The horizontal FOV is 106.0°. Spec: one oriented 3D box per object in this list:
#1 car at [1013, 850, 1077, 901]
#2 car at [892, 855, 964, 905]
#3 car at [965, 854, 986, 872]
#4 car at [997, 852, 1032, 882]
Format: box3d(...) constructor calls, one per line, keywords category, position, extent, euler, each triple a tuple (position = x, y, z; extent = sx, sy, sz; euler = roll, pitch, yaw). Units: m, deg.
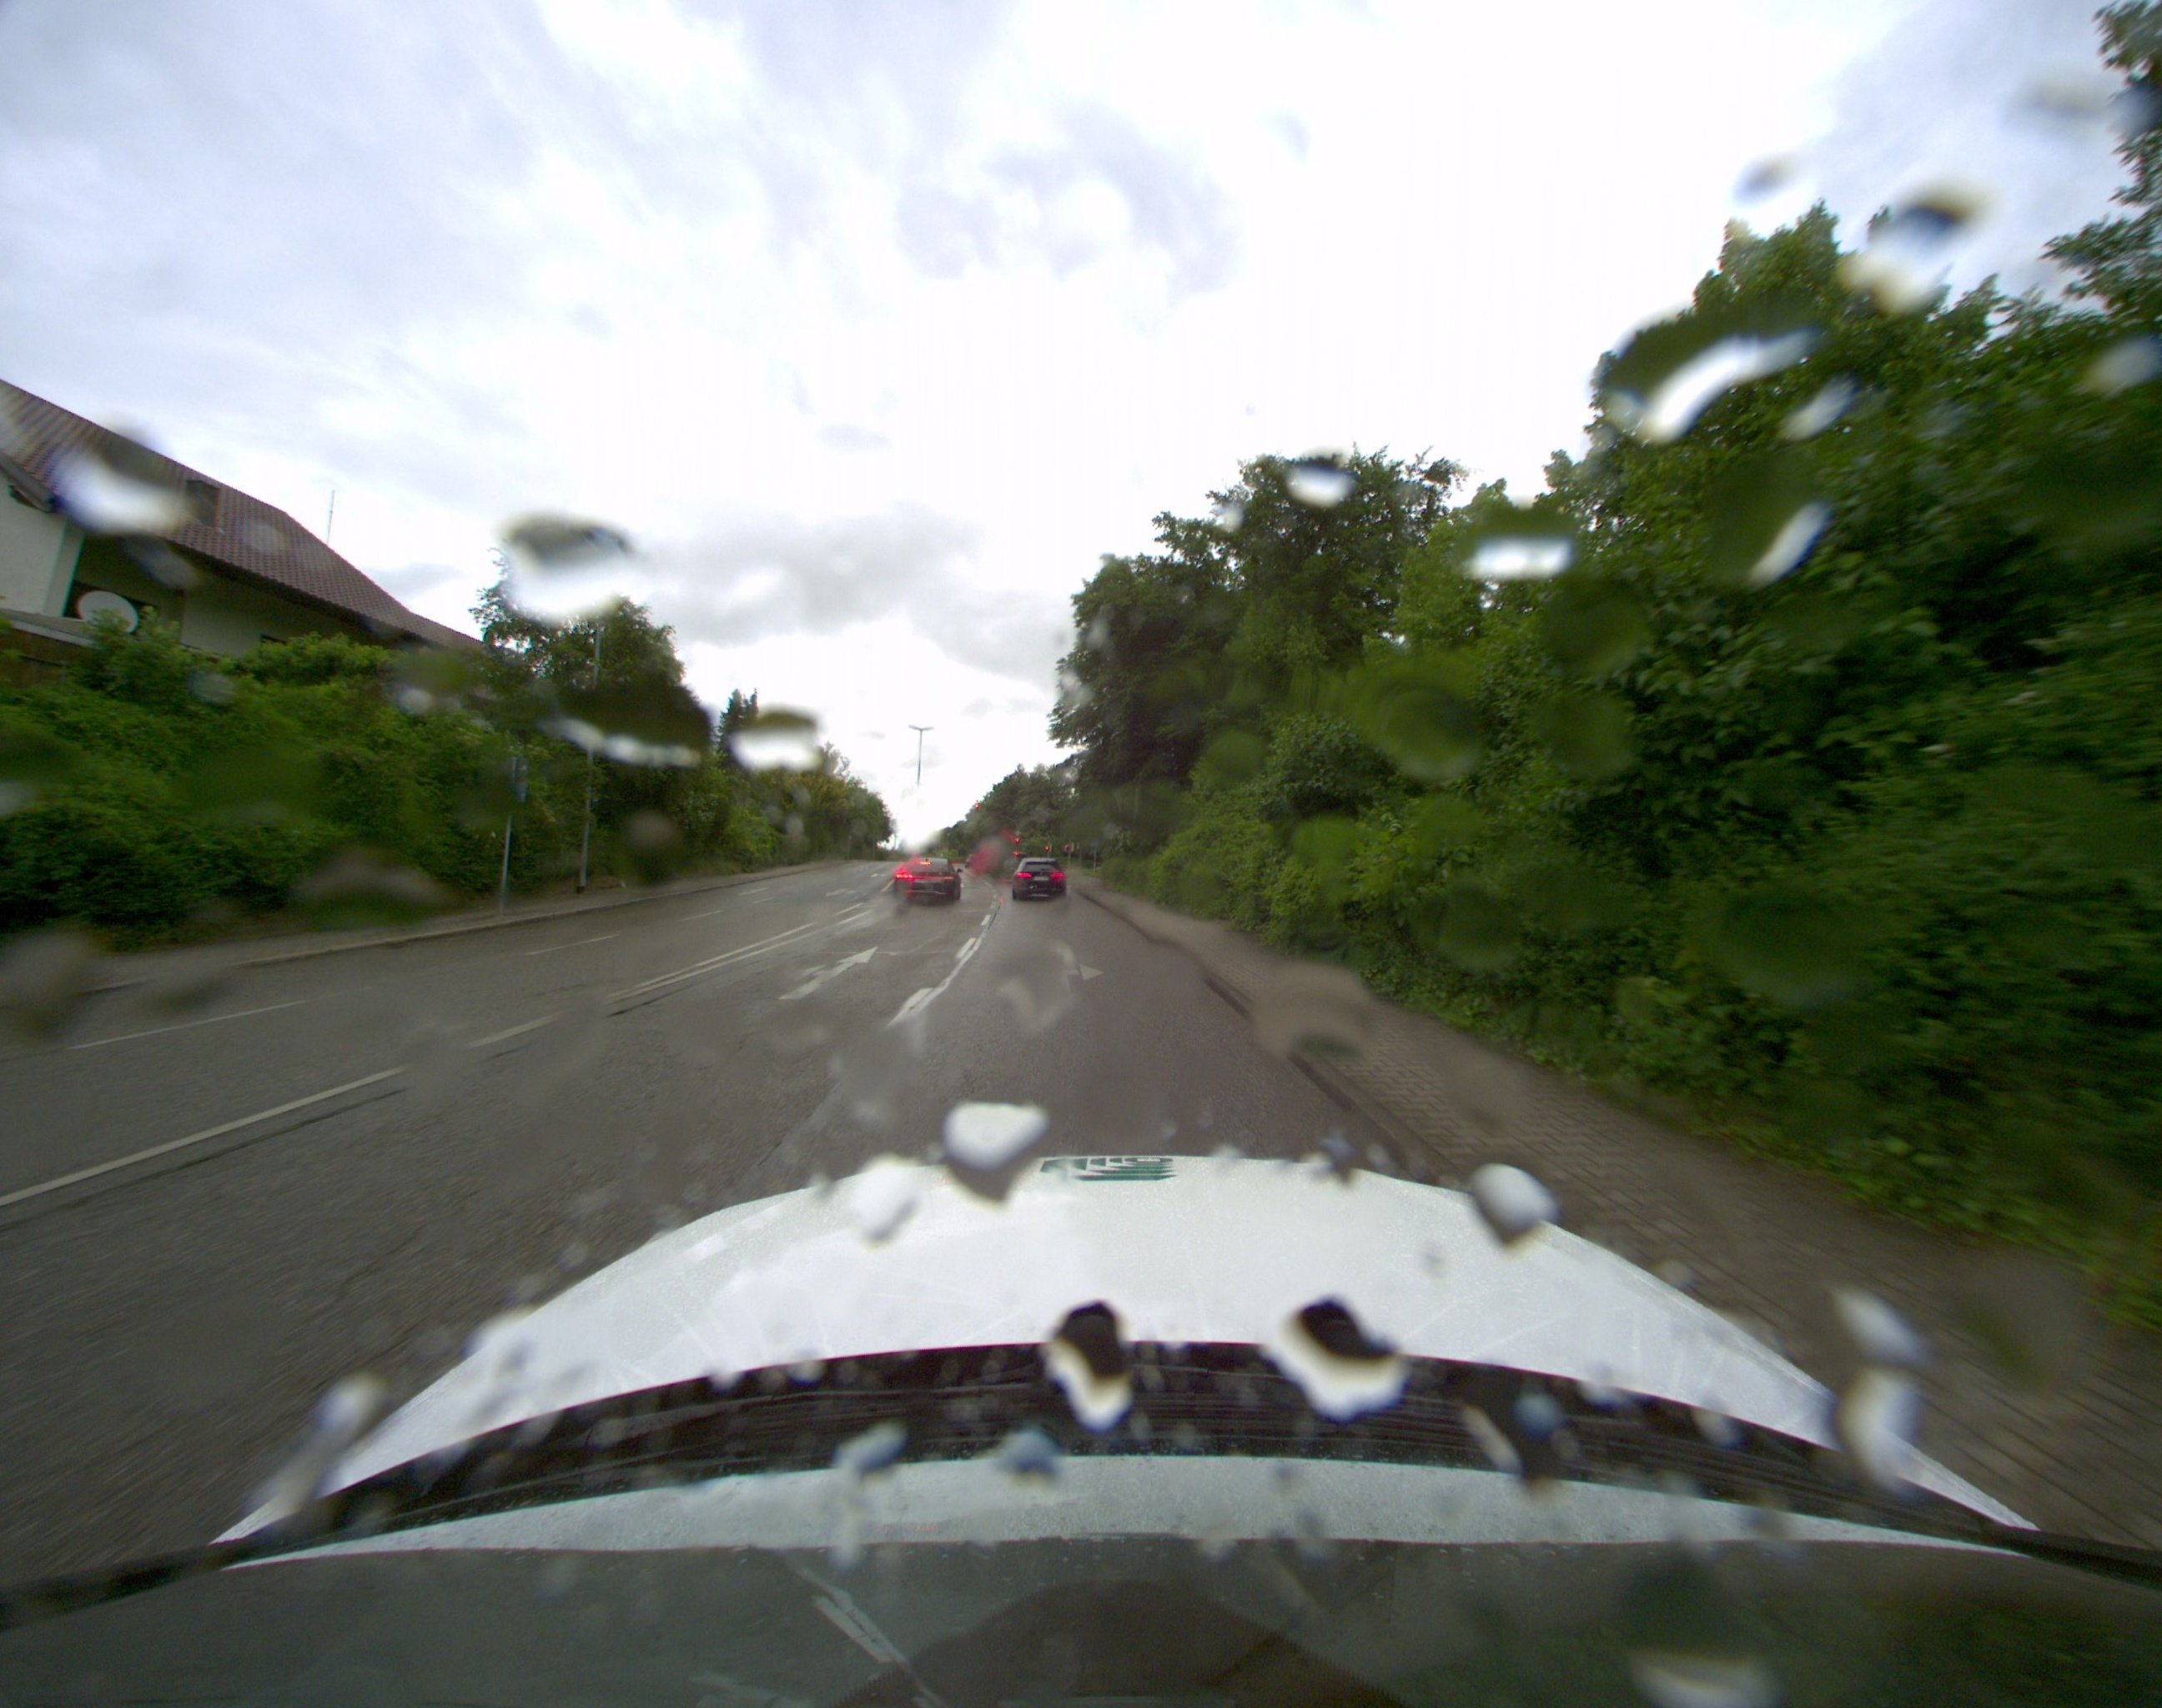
box3d(category="car", position=(-1.410, 0.736, 30.093), extent=(1.991, 1.586, 4.653), euler=(1, 2, -7))
box3d(category="car", position=(-4.904, 0.767, 26.627), extent=(1.903, 1.398, 4.847), euler=(-1, 1, -6))
box3d(category="car", position=(-11.102, 1.002, 85.743), extent=(1.853, 1.662, 3.982), euler=(2, -4, -12))
box3d(category="car", position=(-4.002, 0.773, 48.848), extent=(1.990, 1.749, 3.992), euler=(0, -1, -5))
